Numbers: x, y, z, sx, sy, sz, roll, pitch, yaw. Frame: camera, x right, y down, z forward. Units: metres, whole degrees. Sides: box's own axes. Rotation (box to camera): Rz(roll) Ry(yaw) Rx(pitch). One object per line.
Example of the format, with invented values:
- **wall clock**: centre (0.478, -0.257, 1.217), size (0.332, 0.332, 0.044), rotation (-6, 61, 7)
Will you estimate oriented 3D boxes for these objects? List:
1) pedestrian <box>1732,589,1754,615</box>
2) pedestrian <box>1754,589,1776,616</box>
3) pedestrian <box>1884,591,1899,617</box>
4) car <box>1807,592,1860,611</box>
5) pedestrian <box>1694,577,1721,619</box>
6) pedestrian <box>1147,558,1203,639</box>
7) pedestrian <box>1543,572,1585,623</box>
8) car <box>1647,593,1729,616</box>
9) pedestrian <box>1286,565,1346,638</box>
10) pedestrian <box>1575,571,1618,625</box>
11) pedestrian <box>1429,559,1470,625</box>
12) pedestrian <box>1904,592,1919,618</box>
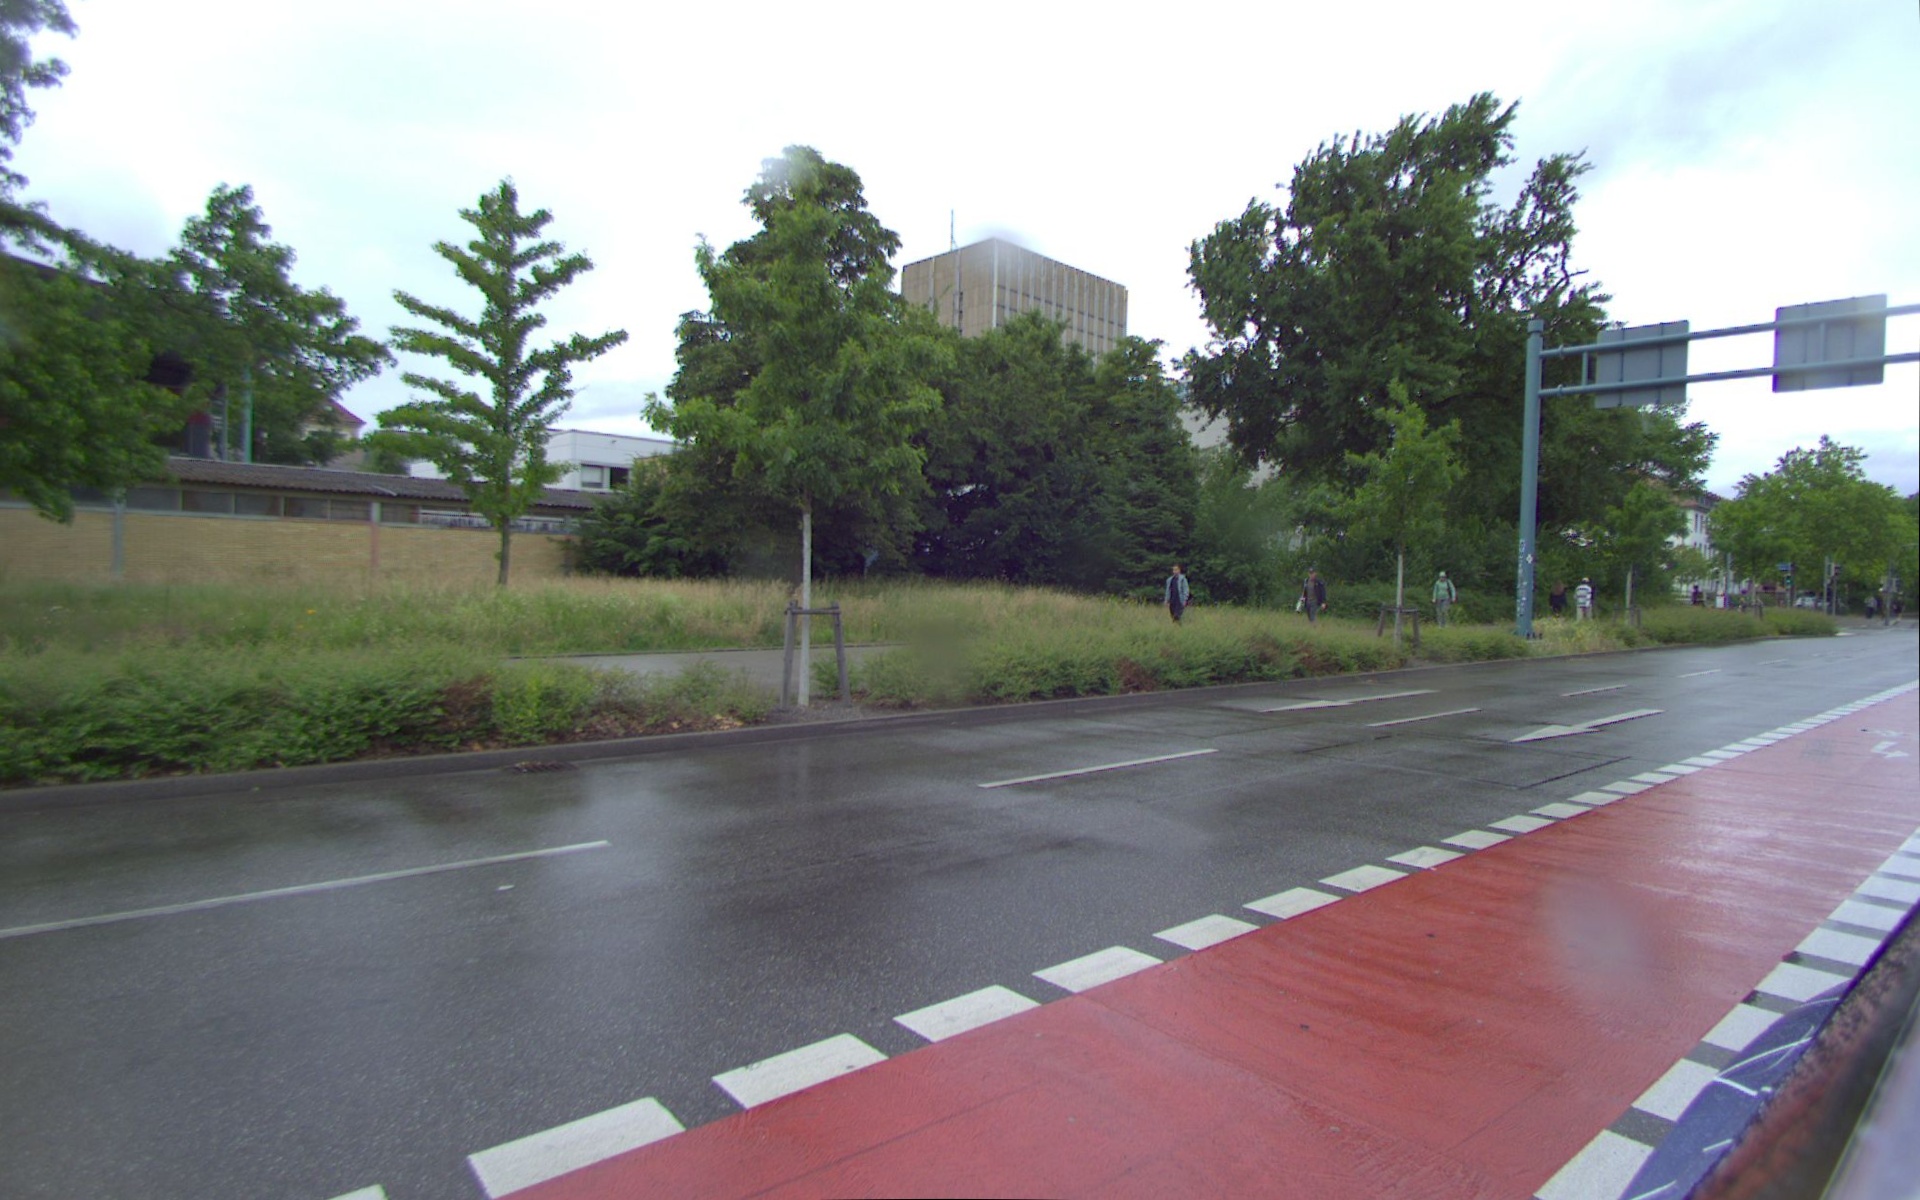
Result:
- **pedestrian**: centre (49.754, 0.098, 64.310), size (0.867, 1.627, 0.857), rotation (2, 1, 22)
- **pedestrian**: centre (50.587, 0.142, 63.569), size (0.869, 1.627, 0.855), rotation (2, 1, 27)
- **pedestrian**: centre (68.132, 0.283, 74.006), size (0.621, 1.847, 0.777), rotation (2, 1, 35)
- **car**: centre (96.932, 0.130, 112.366), size (4.410, 1.896, 1.613), rotation (3, 2, 42)
- **pedestrian**: centre (34.864, -0.095, 47.212), size (0.834, 1.882, 0.732), rotation (1, 1, -34)
- **pedestrian**: centre (4.984, -0.047, 23.471), size (0.813, 1.819, 0.937), rotation (1, 1, -34)
- **pedestrian**: centre (20.816, -0.085, 34.882), size (0.813, 1.726, 0.936), rotation (4, -2, -36)
- **car**: centre (50.279, 0.281, 69.937), size (1.744, 1.353, 4.380), rotation (-3, 4, -44)
- **pedestrian**: centre (8.880, 0.024, 25.275), size (1.025, 1.769, 0.937), rotation (1, 1, -34)
- **pedestrian**: centre (21.342, -0.069, 33.934), size (0.813, 1.743, 0.936), rotation (4, -2, -36)
- **pedestrian**: centre (15.452, -0.261, 31.940), size (0.813, 2.039, 0.793), rotation (1, 1, -34)
- **pedestrian**: centre (69.126, 0.353, 73.493), size (0.619, 1.847, 0.779), rotation (2, 1, 27)
